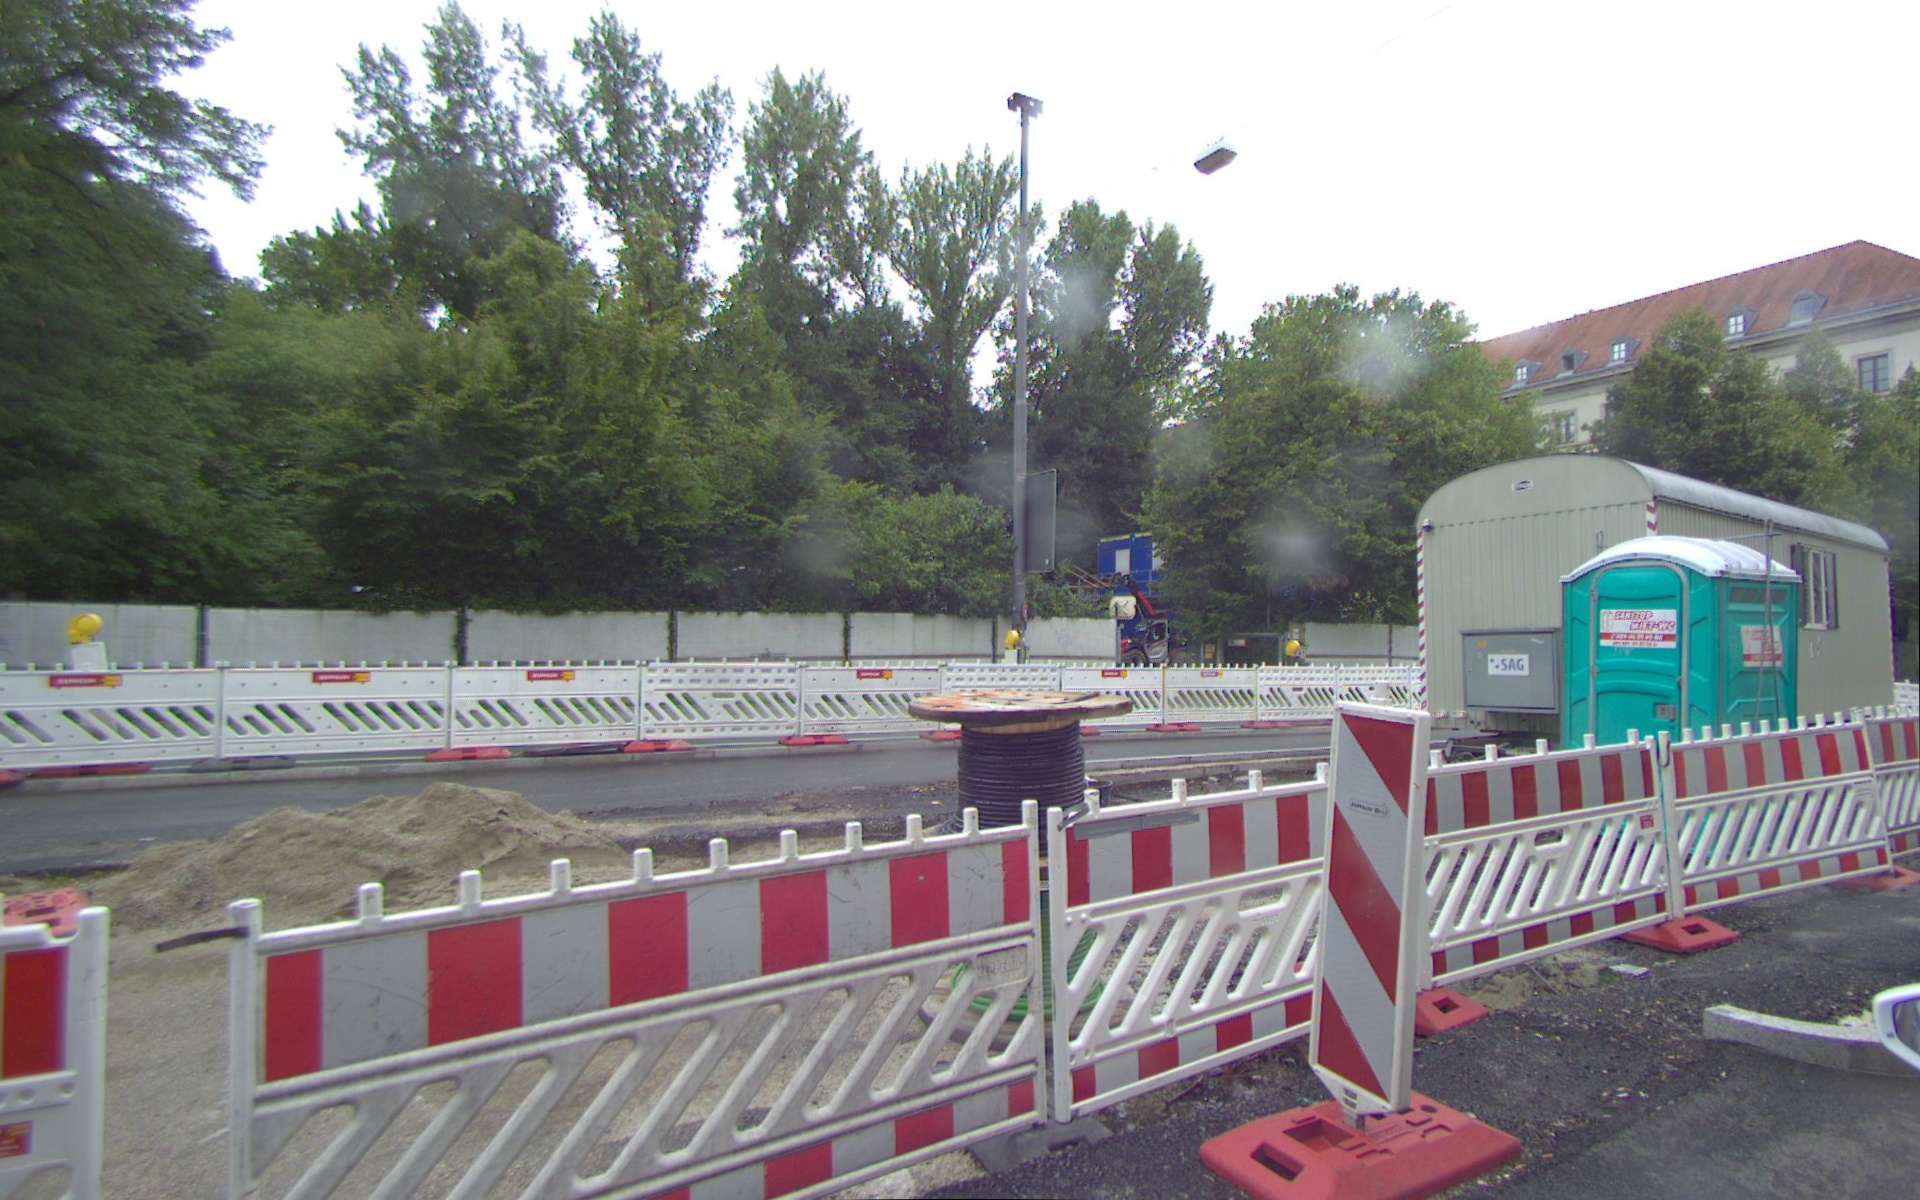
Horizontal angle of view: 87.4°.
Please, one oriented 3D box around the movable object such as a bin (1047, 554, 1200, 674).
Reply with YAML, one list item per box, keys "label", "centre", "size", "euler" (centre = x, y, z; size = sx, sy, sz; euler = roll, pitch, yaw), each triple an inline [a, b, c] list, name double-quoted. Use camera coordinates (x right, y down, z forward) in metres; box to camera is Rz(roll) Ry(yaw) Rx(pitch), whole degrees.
- label: "movable object such as a bin"
  centre: [5.864, 0.586, 35.900]
  size: [5.009, 4.014, 2.453]
  euler: [2, -2, -31]
